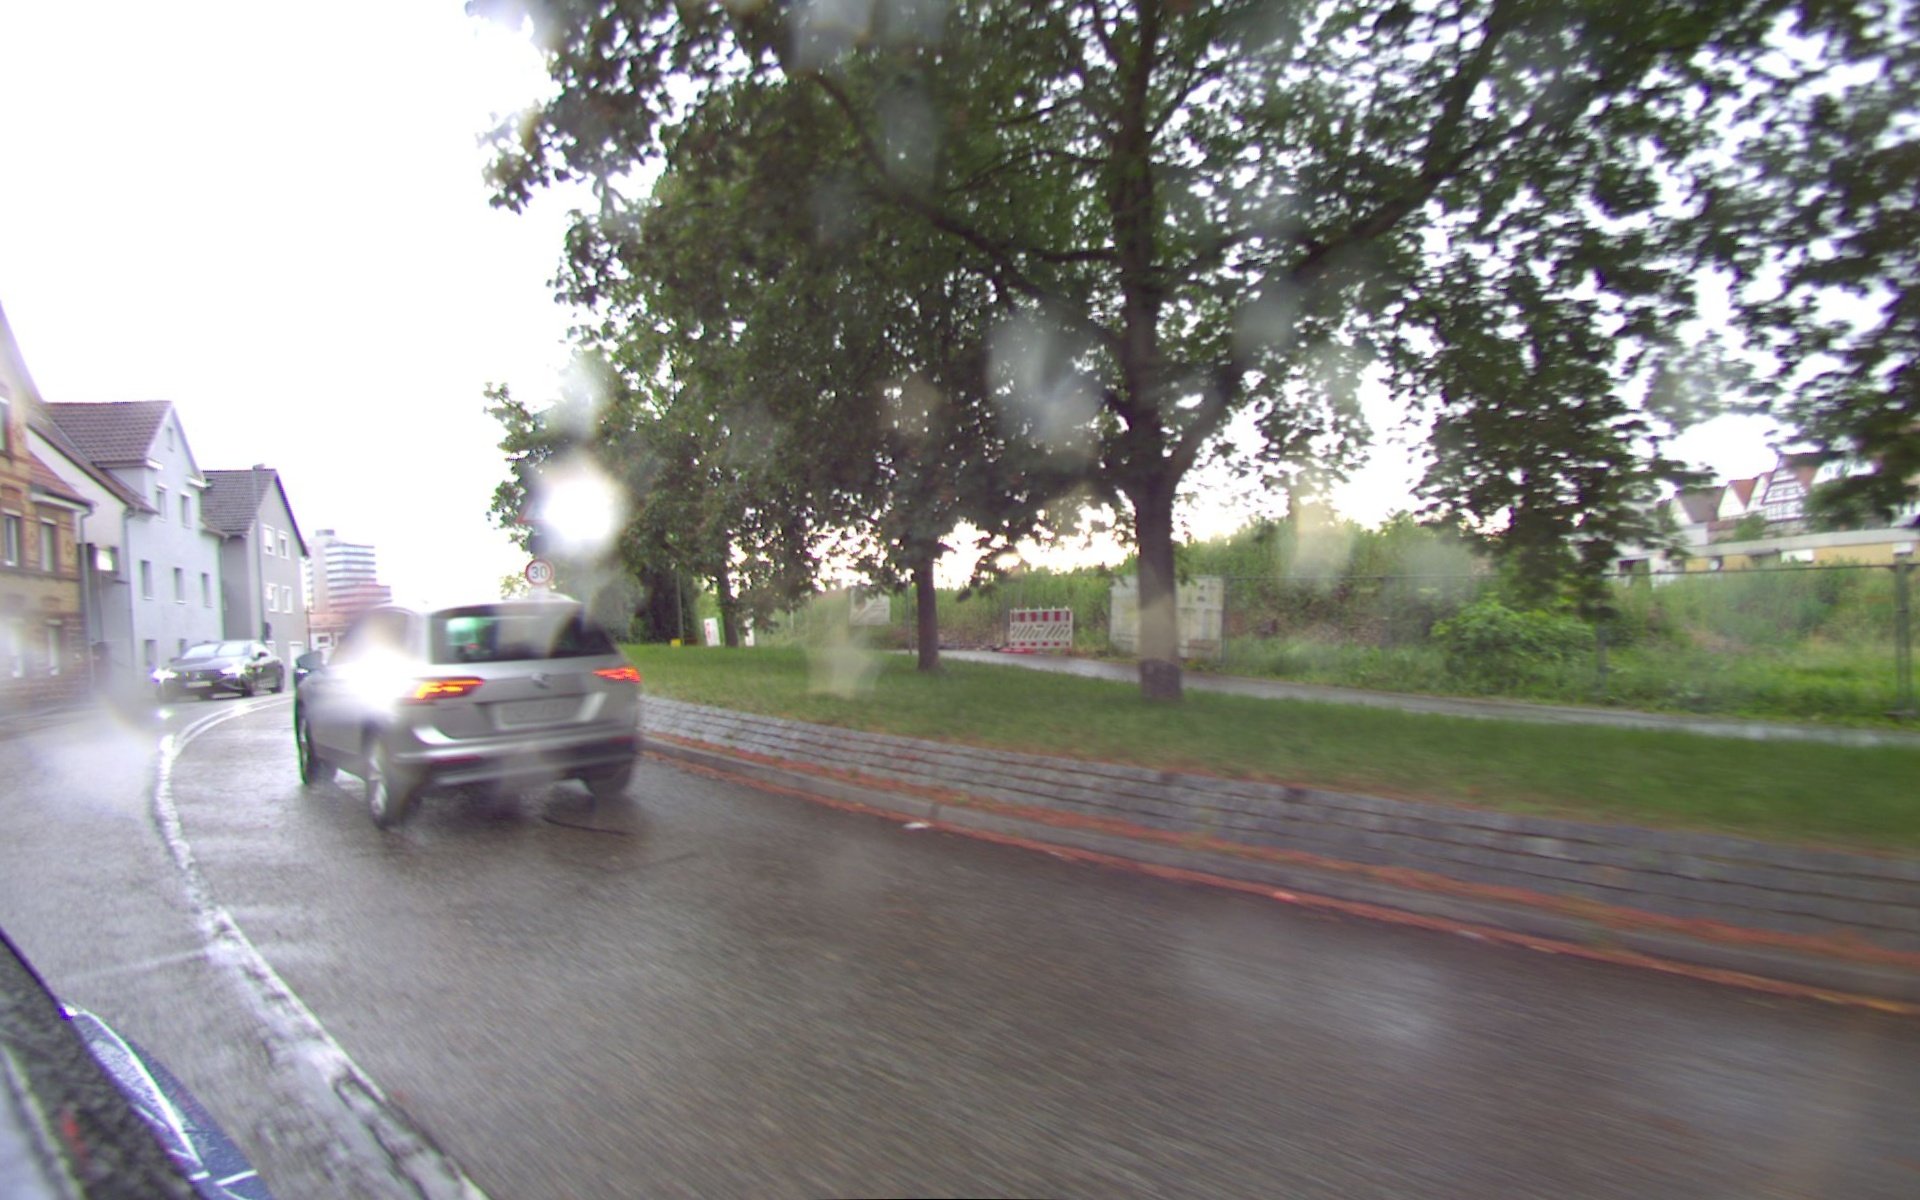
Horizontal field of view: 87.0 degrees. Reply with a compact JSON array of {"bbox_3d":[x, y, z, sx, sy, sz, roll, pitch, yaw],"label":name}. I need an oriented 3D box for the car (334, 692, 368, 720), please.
[{"bbox_3d":[-52.343,9.128,86.965,1.998,1.951,4.956,-4,-5,-36],"label":"car"}]

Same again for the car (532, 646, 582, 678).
[{"bbox_3d":[-20.563,3.139,51.776,1.712,1.421,4.064,-3,-1,-13],"label":"car"}]

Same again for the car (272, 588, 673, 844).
[{"bbox_3d":[-4.196,0.780,8.311,1.707,1.555,4.303,0,-2,-44],"label":"car"}]

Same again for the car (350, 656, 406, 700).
[{"bbox_3d":[-28.057,3.809,48.897,1.869,1.671,4.960,-4,-5,-26],"label":"car"}]

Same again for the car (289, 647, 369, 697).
[{"bbox_3d":[-22.129,2.583,35.647,1.761,1.357,4.960,-5,-4,-26],"label":"car"}]

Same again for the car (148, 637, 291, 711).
[{"bbox_3d":[-19.064,1.928,26.304,1.808,1.525,4.863,-6,-2,-23],"label":"car"}]

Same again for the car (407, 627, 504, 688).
[{"bbox_3d":[-14.373,1.589,29.036,1.700,1.516,4.270,-3,-1,-16],"label":"car"}]
